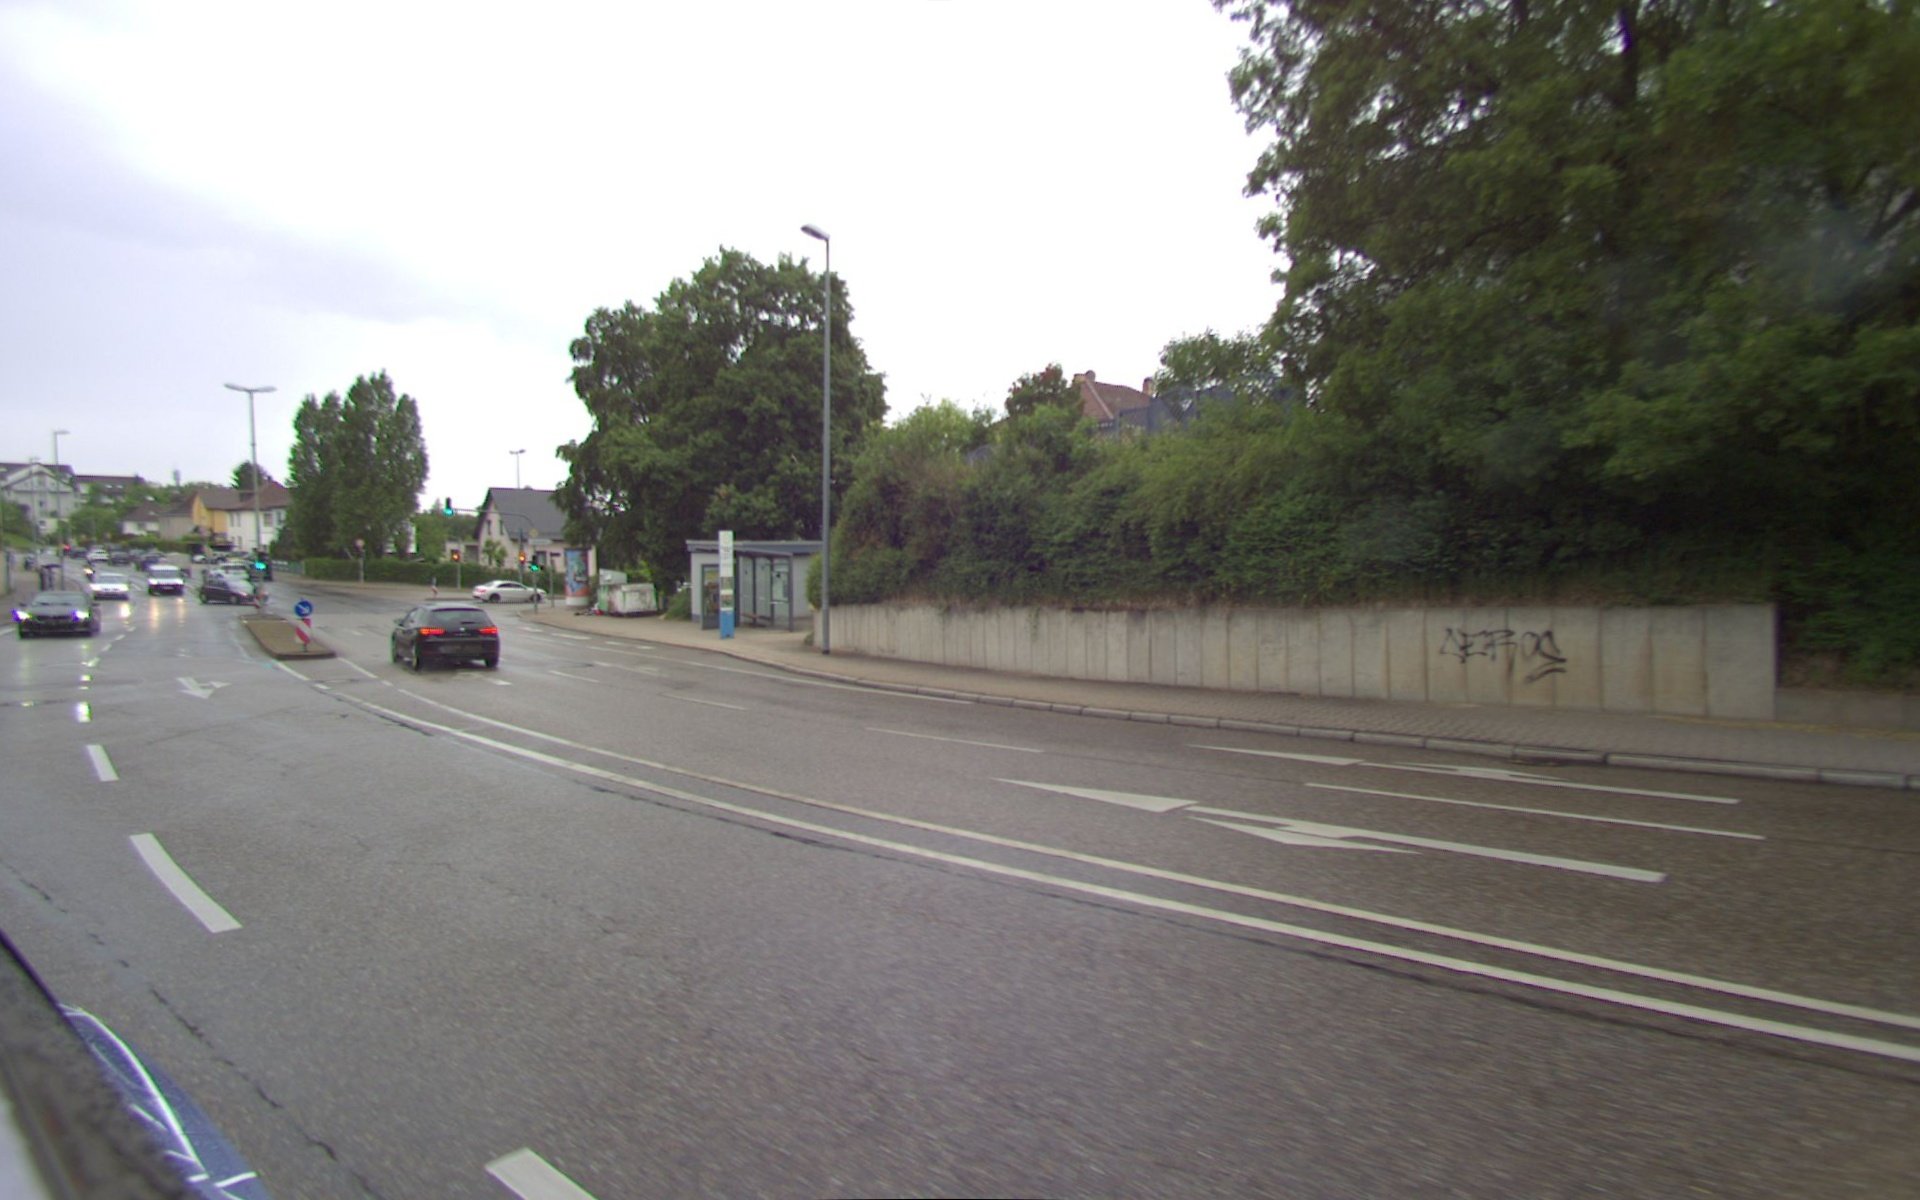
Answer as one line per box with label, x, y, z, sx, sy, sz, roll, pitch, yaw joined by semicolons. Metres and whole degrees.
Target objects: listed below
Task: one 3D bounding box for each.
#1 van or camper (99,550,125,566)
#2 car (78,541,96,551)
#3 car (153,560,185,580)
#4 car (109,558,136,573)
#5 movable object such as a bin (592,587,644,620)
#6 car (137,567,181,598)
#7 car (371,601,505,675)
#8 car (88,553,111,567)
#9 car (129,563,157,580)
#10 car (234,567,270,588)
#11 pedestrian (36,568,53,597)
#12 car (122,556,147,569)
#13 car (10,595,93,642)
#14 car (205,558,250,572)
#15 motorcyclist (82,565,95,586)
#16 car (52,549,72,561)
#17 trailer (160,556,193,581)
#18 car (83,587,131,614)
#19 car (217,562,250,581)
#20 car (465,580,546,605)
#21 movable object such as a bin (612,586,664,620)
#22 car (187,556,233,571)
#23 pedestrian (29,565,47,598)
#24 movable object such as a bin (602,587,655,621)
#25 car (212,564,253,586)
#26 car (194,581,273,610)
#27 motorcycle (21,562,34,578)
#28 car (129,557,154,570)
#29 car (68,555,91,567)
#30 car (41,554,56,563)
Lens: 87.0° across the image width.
van or camper;-116.354;-5.756;138.834;5.135;2.028;2.160;5;4;42
car;-154.048;-9.535;178.575;4.002;1.585;1.971;5;4;44
car;-74.145;-2.824;94.865;1.877;1.695;4.483;-1;3;-45
car;-94.644;-3.902;114.338;1.971;1.585;4.003;-1;4;-45
movable object such as a bin;-16.740;0.147;49.505;2.030;1.580;1.585;0;1;-35
car;-53.183;-1.163;67.196;1.928;1.885;4.752;0;3;-43
car;-12.143;0.801;23.404;1.868;1.498;4.241;0;0;-40
car;-105.641;-4.942;124.197;1.814;1.567;4.775;0;4;-44
car;-82.582;-2.863;102.264;1.819;1.563;4.388;0;3;-44
car;-61.661;-1.972;88.128;4.601;1.681;1.784;5;4;44
pedestrian;-58.376;-1.133;64.533;0.784;1.793;1.013;1;2;-40
car;-104.776;-4.720;128.409;3.998;1.525;1.786;4;3;41
car;-30.703;0.630;34.304;1.812;1.468;4.008;-1;0;-38
car;-85.698;-4.096;118.426;1.885;1.430;4.054;4;5;43
motorcyclist;-69.901;-1.986;81.181;0.750;1.614;0.809;-1;4;-42
car;-123.372;-6.240;139.042;4.001;1.514;1.693;4;4;43
trailer;-71.147;-2.870;91.848;1.874;2.195;4.038;-1;3;-45
car;-51.717;0.015;61.331;4.002;1.492;1.815;2;2;44
car;-66.710;-2.614;92.927;4.145;1.580;1.784;5;4;44
car;-30.275;-0.510;67.492;4.582;1.539;1.916;-1;4;-44
movable object such as a bin;-14.953;0.138;46.996;2.030;1.526;1.347;0;1;-35
car;-90.405;-4.353;122.061;1.837;1.495;4.061;2;-1;36
pedestrian;-57.257;-1.140;62.847;0.787;2.028;0.736;-1;4;-40
movable object such as a bin;-15.803;0.154;48.205;2.030;1.580;1.585;0;1;-35
car;-59.182;-2.047;82.321;4.466;1.669;1.804;3;2;42
car;-42.772;-0.291;59.575;4.027;1.498;1.830;2;3;19
motorcycle;-86.998;-2.806;94.438;2.479;1.334;0.685;4;3;42
car;-100.934;-4.476;124.775;3.998;1.426;1.786;4;3;41
car;-116.914;-5.179;134.382;4.000;1.475;1.833;3;3;43
car;-165.906;-7.492;184.160;4.002;1.541;1.812;4;3;44
